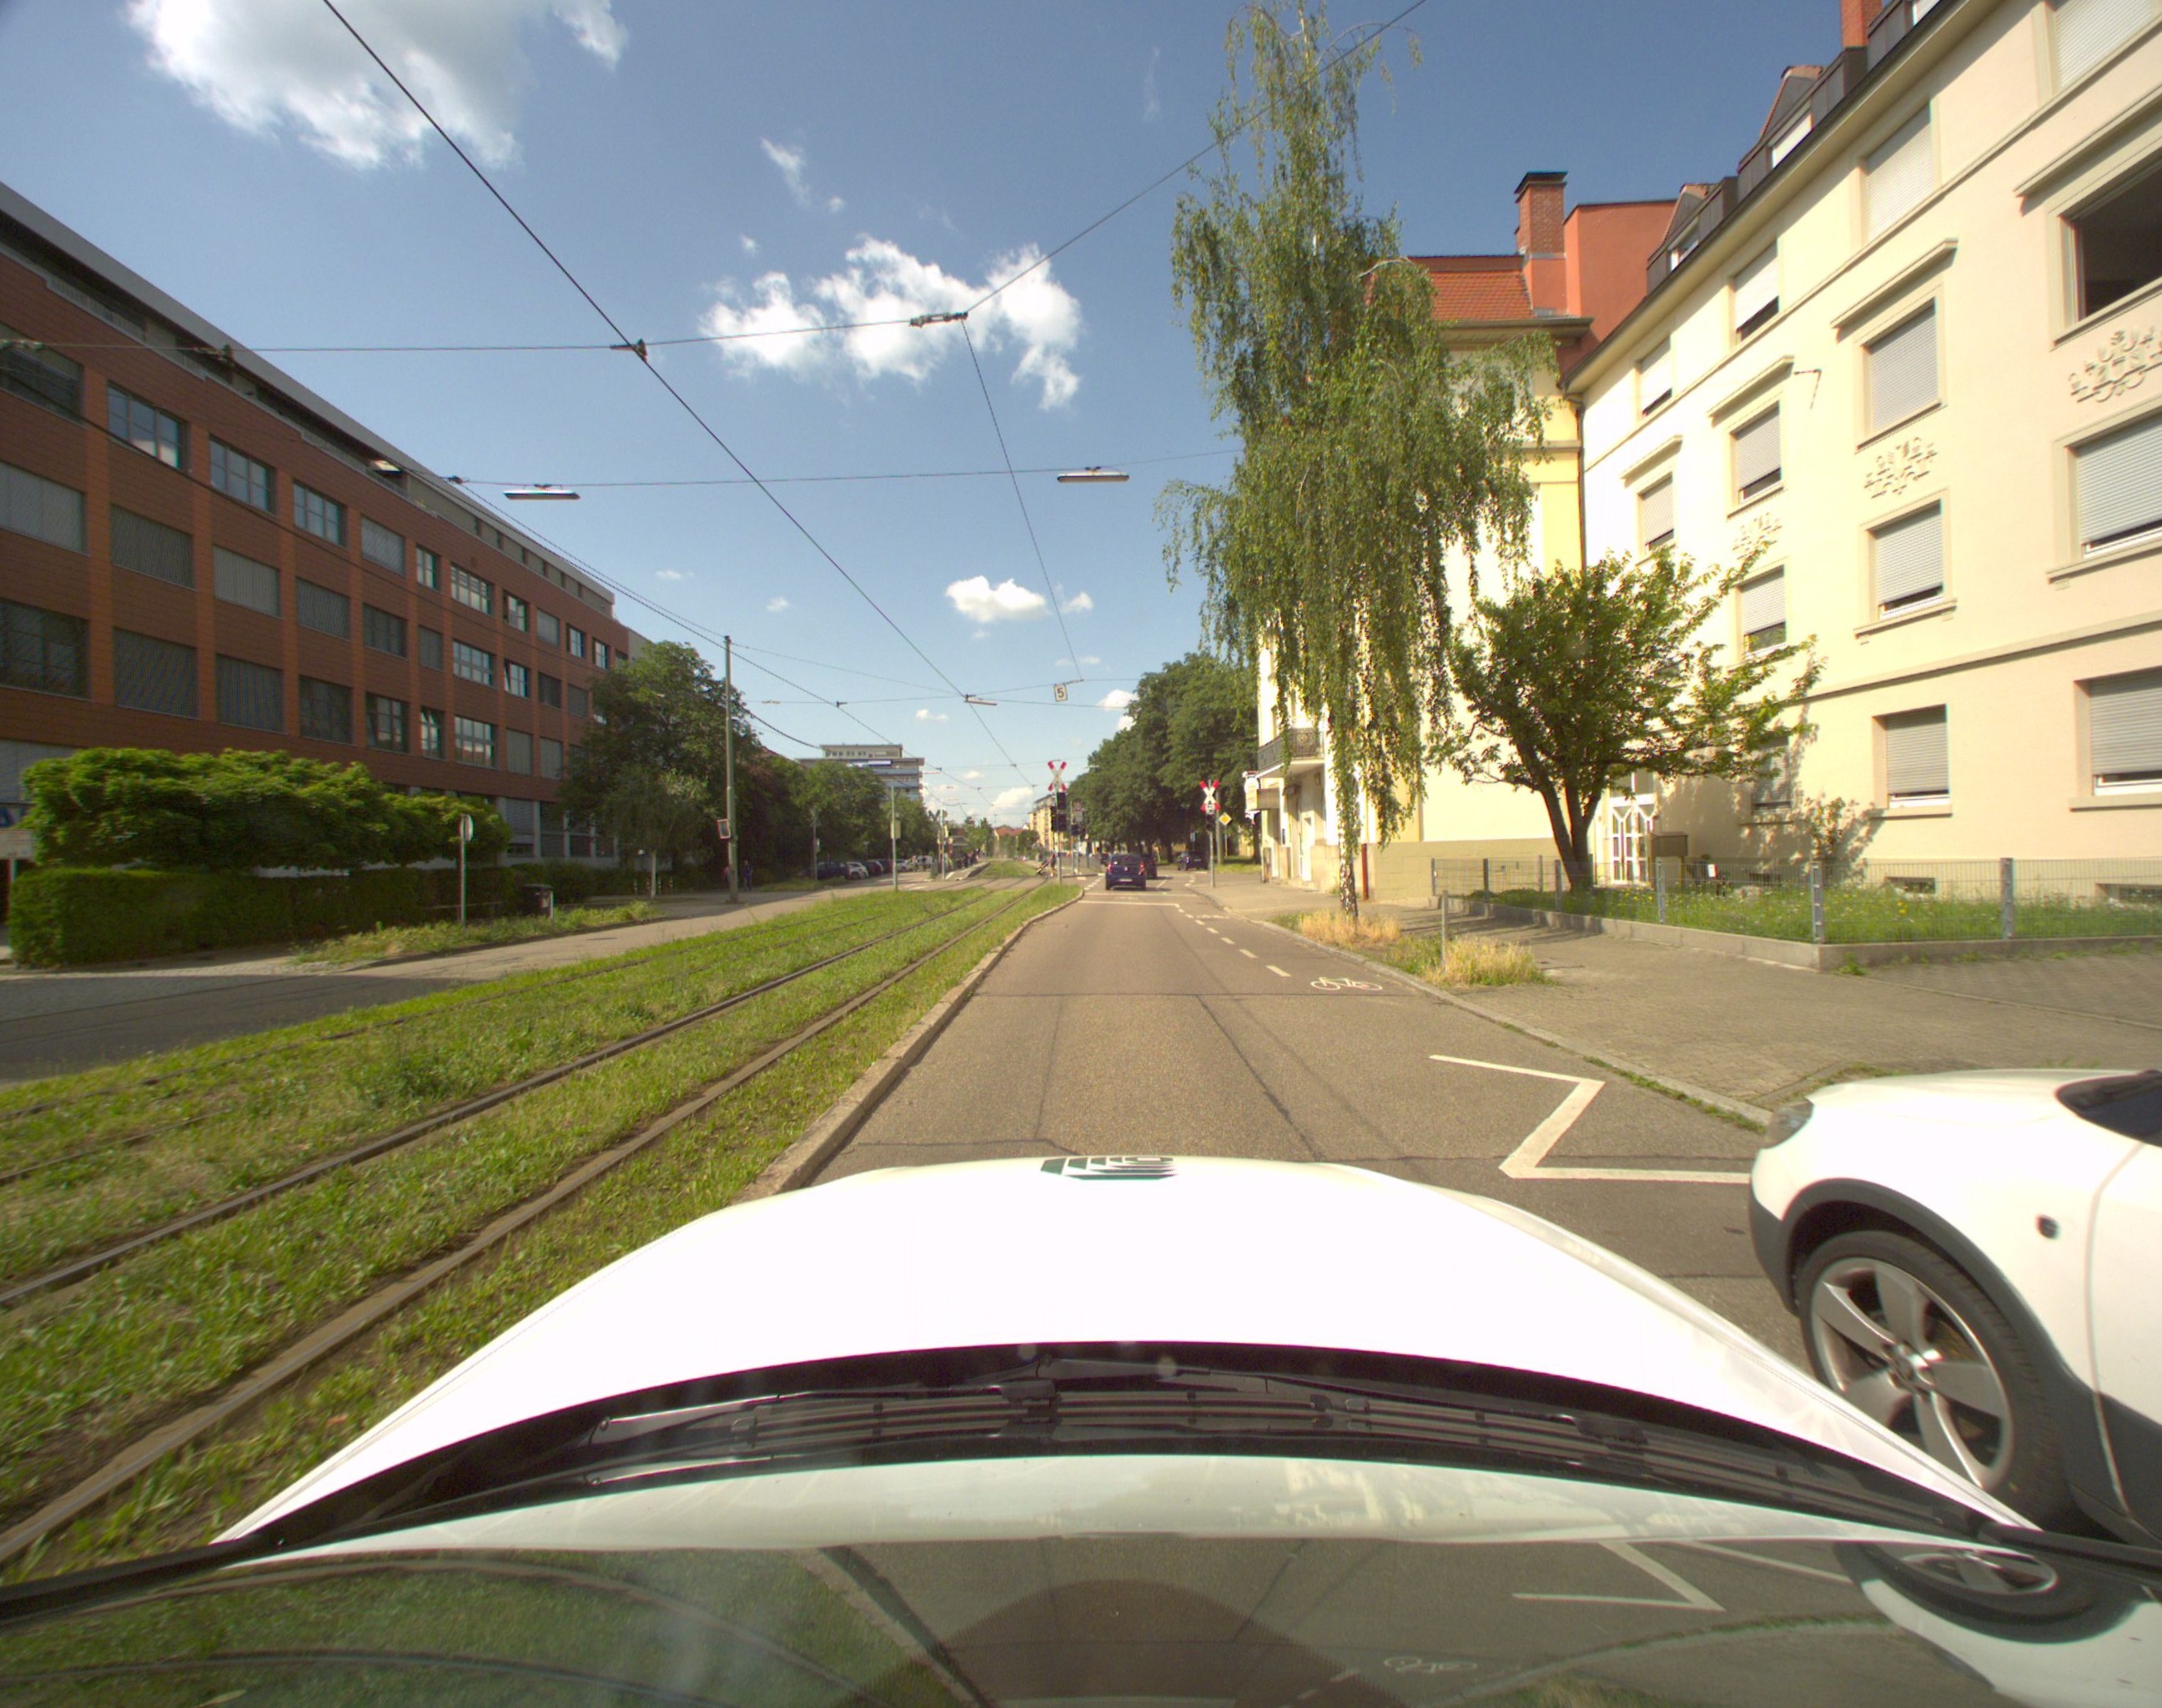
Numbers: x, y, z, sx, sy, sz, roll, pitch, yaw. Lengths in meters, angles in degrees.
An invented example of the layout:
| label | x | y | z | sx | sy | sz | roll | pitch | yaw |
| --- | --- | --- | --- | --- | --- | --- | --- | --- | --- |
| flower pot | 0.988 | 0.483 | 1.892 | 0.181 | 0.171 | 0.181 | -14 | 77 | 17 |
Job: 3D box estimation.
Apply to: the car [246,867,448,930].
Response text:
| label | x | y | z | sx | sy | sz | roll | pitch | yaw |
| --- | --- | --- | --- | --- | --- | --- | --- | --- | --- |
| car | -21.376 | 1.257 | 23.877 | 3.977 | 1.596 | 1.998 | -2 | 0 | -3 |

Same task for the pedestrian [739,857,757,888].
| label | x | y | z | sx | sy | sz | roll | pitch | yaw |
| --- | --- | --- | --- | --- | --- | --- | --- | --- | --- |
| pedestrian | -18.344 | 0.999 | 44.865 | 0.554 | 1.657 | 0.747 | -2 | -1 | 3 |

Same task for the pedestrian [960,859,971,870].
| label | x | y | z | sx | sy | sz | roll | pitch | yaw |
| --- | --- | --- | --- | --- | --- | --- | --- | --- | --- |
| pedestrian | -11.464 | 1.039 | 80.818 | 0.923 | 0.989 | 0.796 | -3 | -1 | -4 |

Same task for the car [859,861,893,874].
| label | x | y | z | sx | sy | sz | roll | pitch | yaw |
| --- | --- | --- | --- | --- | --- | --- | --- | --- | --- |
| car | -22.037 | 1.441 | 87.600 | 1.437 | 1.309 | 3.267 | -2 | 0 | 39 |

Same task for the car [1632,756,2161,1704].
| label | x | y | z | sx | sy | sz | roll | pitch | yaw |
| --- | --- | --- | --- | --- | --- | --- | --- | --- | --- |
| car | 2.687 | 0.654 | 0.849 | 1.714 | 1.629 | 4.004 | 1 | 0 | 4 |

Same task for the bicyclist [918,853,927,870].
| label | x | y | z | sx | sy | sz | roll | pitch | yaw |
| --- | --- | --- | --- | --- | --- | --- | --- | --- | --- |
| bicyclist | -18.976 | 0.871 | 97.574 | 0.948 | 2.013 | 1.569 | -2 | 0 | -13 |

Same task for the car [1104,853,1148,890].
| label | x | y | z | sx | sy | sz | roll | pitch | yaw |
| --- | --- | --- | --- | --- | --- | --- | --- | --- | --- |
| car | 1.894 | 0.698 | 34.935 | 1.761 | 1.462 | 3.778 | -1 | 0 | 2 |

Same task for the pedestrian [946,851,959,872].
| label | x | y | z | sx | sy | sz | roll | pitch | yaw |
| --- | --- | --- | --- | --- | --- | --- | --- | --- | --- |
| pedestrian | -10.727 | 0.624 | 68.078 | 0.705 | 1.726 | 0.672 | -2 | 0 | 37 |

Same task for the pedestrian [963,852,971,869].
| label | x | y | z | sx | sy | sz | roll | pitch | yaw |
| --- | --- | --- | --- | --- | --- | --- | --- | --- | --- |
| pedestrian | -11.866 | 0.654 | 84.758 | 0.601 | 1.766 | 0.639 | -2 | 0 | 4 |

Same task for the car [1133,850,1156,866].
| label | x | y | z | sx | sy | sz | roll | pitch | yaw |
| --- | --- | --- | --- | --- | --- | --- | --- | --- | --- |
| car | 6.239 | 0.350 | 80.288 | 1.855 | 1.445 | 4.000 | -3 | 0 | 0 |

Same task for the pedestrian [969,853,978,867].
| label | x | y | z | sx | sy | sz | roll | pitch | yaw |
| --- | --- | --- | --- | --- | --- | --- | --- | --- | --- |
| pedestrian | -11.332 | 0.586 | 85.786 | 0.648 | 1.426 | 0.566 | -3 | 0 | 32 |

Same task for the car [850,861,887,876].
| label | x | y | z | sx | sy | sz | roll | pitch | yaw |
| --- | --- | --- | --- | --- | --- | --- | --- | --- | --- |
| car | -20.608 | 1.373 | 79.186 | 1.437 | 1.309 | 3.268 | -2 | 0 | 37 |

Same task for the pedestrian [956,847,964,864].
| label | x | y | z | sx | sy | sz | roll | pitch | yaw |
| --- | --- | --- | --- | --- | --- | --- | --- | --- | --- |
| pedestrian | -11.903 | 0.160 | 79.864 | 0.654 | 1.692 | 0.655 | -2 | 0 | -5 |

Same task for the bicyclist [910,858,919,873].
| label | x | y | z | sx | sy | sz | roll | pitch | yaw |
| --- | --- | --- | --- | --- | --- | --- | --- | --- | --- |
| bicyclist | -18.381 | 1.257 | 89.752 | 0.783 | 1.582 | 0.863 | -2 | 0 | -2 |

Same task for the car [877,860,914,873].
| label | x | y | z | sx | sy | sz | roll | pitch | yaw |
| --- | --- | --- | --- | --- | --- | --- | --- | --- | --- |
| car | -22.331 | 1.451 | 97.982 | 1.694 | 1.367 | 4.024 | -2 | 0 | 44 |

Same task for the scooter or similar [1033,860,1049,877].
| label | x | y | z | sx | sy | sz | roll | pitch | yaw |
| --- | --- | --- | --- | --- | --- | --- | --- | --- | --- |
| scooter or similar | -2.547 | 0.917 | 51.983 | 0.953 | 1.065 | 0.795 | -3 | 0 | -6 |

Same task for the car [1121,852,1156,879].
| label | x | y | z | sx | sy | sz | roll | pitch | yaw |
| --- | --- | --- | --- | --- | --- | --- | --- | --- | --- |
| car | 3.189 | 0.629 | 45.754 | 1.694 | 1.368 | 3.514 | -2 | 0 | 0 |

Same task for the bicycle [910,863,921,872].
| label | x | y | z | sx | sy | sz | roll | pitch | yaw |
| --- | --- | --- | --- | --- | --- | --- | --- | --- | --- |
| bicycle | -18.282 | 1.497 | 89.997 | 0.678 | 0.971 | 2.177 | -2 | 0 | -1 |

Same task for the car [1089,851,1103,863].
| label | x | y | z | sx | sy | sz | roll | pitch | yaw |
| --- | --- | --- | --- | --- | --- | --- | --- | --- | --- |
| car | 2.262 | 0.482 | 123.604 | 1.614 | 1.750 | 3.994 | -2 | 0 | -4 |

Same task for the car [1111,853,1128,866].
| label | x | y | z | sx | sy | sz | roll | pitch | yaw |
| --- | --- | --- | --- | --- | --- | --- | --- | --- | --- |
| car | 4.550 | 0.613 | 96.959 | 1.845 | 1.515 | 4.000 | -2 | 0 | 0 |

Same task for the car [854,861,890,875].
| label | x | y | z | sx | sy | sz | roll | pitch | yaw |
| --- | --- | --- | --- | --- | --- | --- | --- | --- | --- |
| car | -21.016 | 1.379 | 82.057 | 1.437 | 1.309 | 3.267 | -2 | 0 | 39 |

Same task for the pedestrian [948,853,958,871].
| label | x | y | z | sx | sy | sz | roll | pitch | yaw |
| --- | --- | --- | --- | --- | --- | --- | --- | --- | --- |
| pedestrian | -11.483 | 0.717 | 73.123 | 0.661 | 1.569 | 0.686 | -3 | 0 | 3 |

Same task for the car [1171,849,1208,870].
| label | x | y | z | sx | sy | sz | roll | pitch | yaw |
| --- | --- | --- | --- | --- | --- | --- | --- | --- | --- |
| car | 7.918 | 0.382 | 59.761 | 1.763 | 1.433 | 3.896 | -3 | 0 | -6 |

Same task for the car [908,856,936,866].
| label | x | y | z | sx | sy | sz | roll | pitch | yaw |
| --- | --- | --- | --- | --- | --- | --- | --- | --- | --- |
| car | -24.033 | 1.052 | 123.074 | 1.618 | 1.385 | 4.025 | -2 | 0 | 40 |

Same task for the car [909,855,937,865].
| label | x | y | z | sx | sy | sz | roll | pitch | yaw |
| --- | --- | --- | --- | --- | --- | --- | --- | --- | --- |
| car | -24.862 | 0.953 | 128.317 | 4.020 | 1.447 | 1.708 | -2 | 0 | -40 |

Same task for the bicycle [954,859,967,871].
| label | x | y | z | sx | sy | sz | roll | pitch | yaw |
| --- | --- | --- | --- | --- | --- | --- | --- | --- | --- |
| bicycle | -10.742 | 0.975 | 72.889 | 0.683 | 0.974 | 1.773 | -4 | 0 | 5 |

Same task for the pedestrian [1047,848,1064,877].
| label | x | y | z | sx | sy | sz | roll | pitch | yaw |
| --- | --- | --- | --- | --- | --- | --- | --- | --- | --- |
| pedestrian | -1.633 | 0.521 | 52.339 | 0.870 | 1.775 | 1.001 | -4 | 0 | -6 |

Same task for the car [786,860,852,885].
| label | x | y | z | sx | sy | sz | roll | pitch | yaw |
| --- | --- | --- | --- | --- | --- | --- | --- | --- | --- |
| car | -18.789 | 1.317 | 58.583 | 4.157 | 1.640 | 1.704 | -2 | 0 | -44 |

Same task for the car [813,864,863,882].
| label | x | y | z | sx | sy | sz | roll | pitch | yaw |
| --- | --- | --- | --- | --- | --- | --- | --- | --- | --- |
| car | -19.138 | 1.504 | 64.255 | 3.409 | 1.236 | 1.525 | -2 | 0 | -44 |

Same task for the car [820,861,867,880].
| label | x | y | z | sx | sy | sz | roll | pitch | yaw |
| --- | --- | --- | --- | --- | --- | --- | --- | --- | --- |
| car | -19.653 | 1.364 | 67.556 | 3.408 | 1.505 | 1.525 | -2 | 0 | -43 |

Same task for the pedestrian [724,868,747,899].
| label | x | y | z | sx | sy | sz | roll | pitch | yaw |
| --- | --- | --- | --- | --- | --- | --- | --- | --- | --- |
| pedestrian | -18.036 | 1.529 | 42.546 | 0.742 | 1.574 | 0.890 | -2 | -2 | 3 |

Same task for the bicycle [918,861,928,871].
| label | x | y | z | sx | sy | sz | roll | pitch | yaw |
| --- | --- | --- | --- | --- | --- | --- | --- | --- | --- |
| bicycle | -18.935 | 1.439 | 97.599 | 1.155 | 1.178 | 1.780 | -3 | 0 | -12 |
